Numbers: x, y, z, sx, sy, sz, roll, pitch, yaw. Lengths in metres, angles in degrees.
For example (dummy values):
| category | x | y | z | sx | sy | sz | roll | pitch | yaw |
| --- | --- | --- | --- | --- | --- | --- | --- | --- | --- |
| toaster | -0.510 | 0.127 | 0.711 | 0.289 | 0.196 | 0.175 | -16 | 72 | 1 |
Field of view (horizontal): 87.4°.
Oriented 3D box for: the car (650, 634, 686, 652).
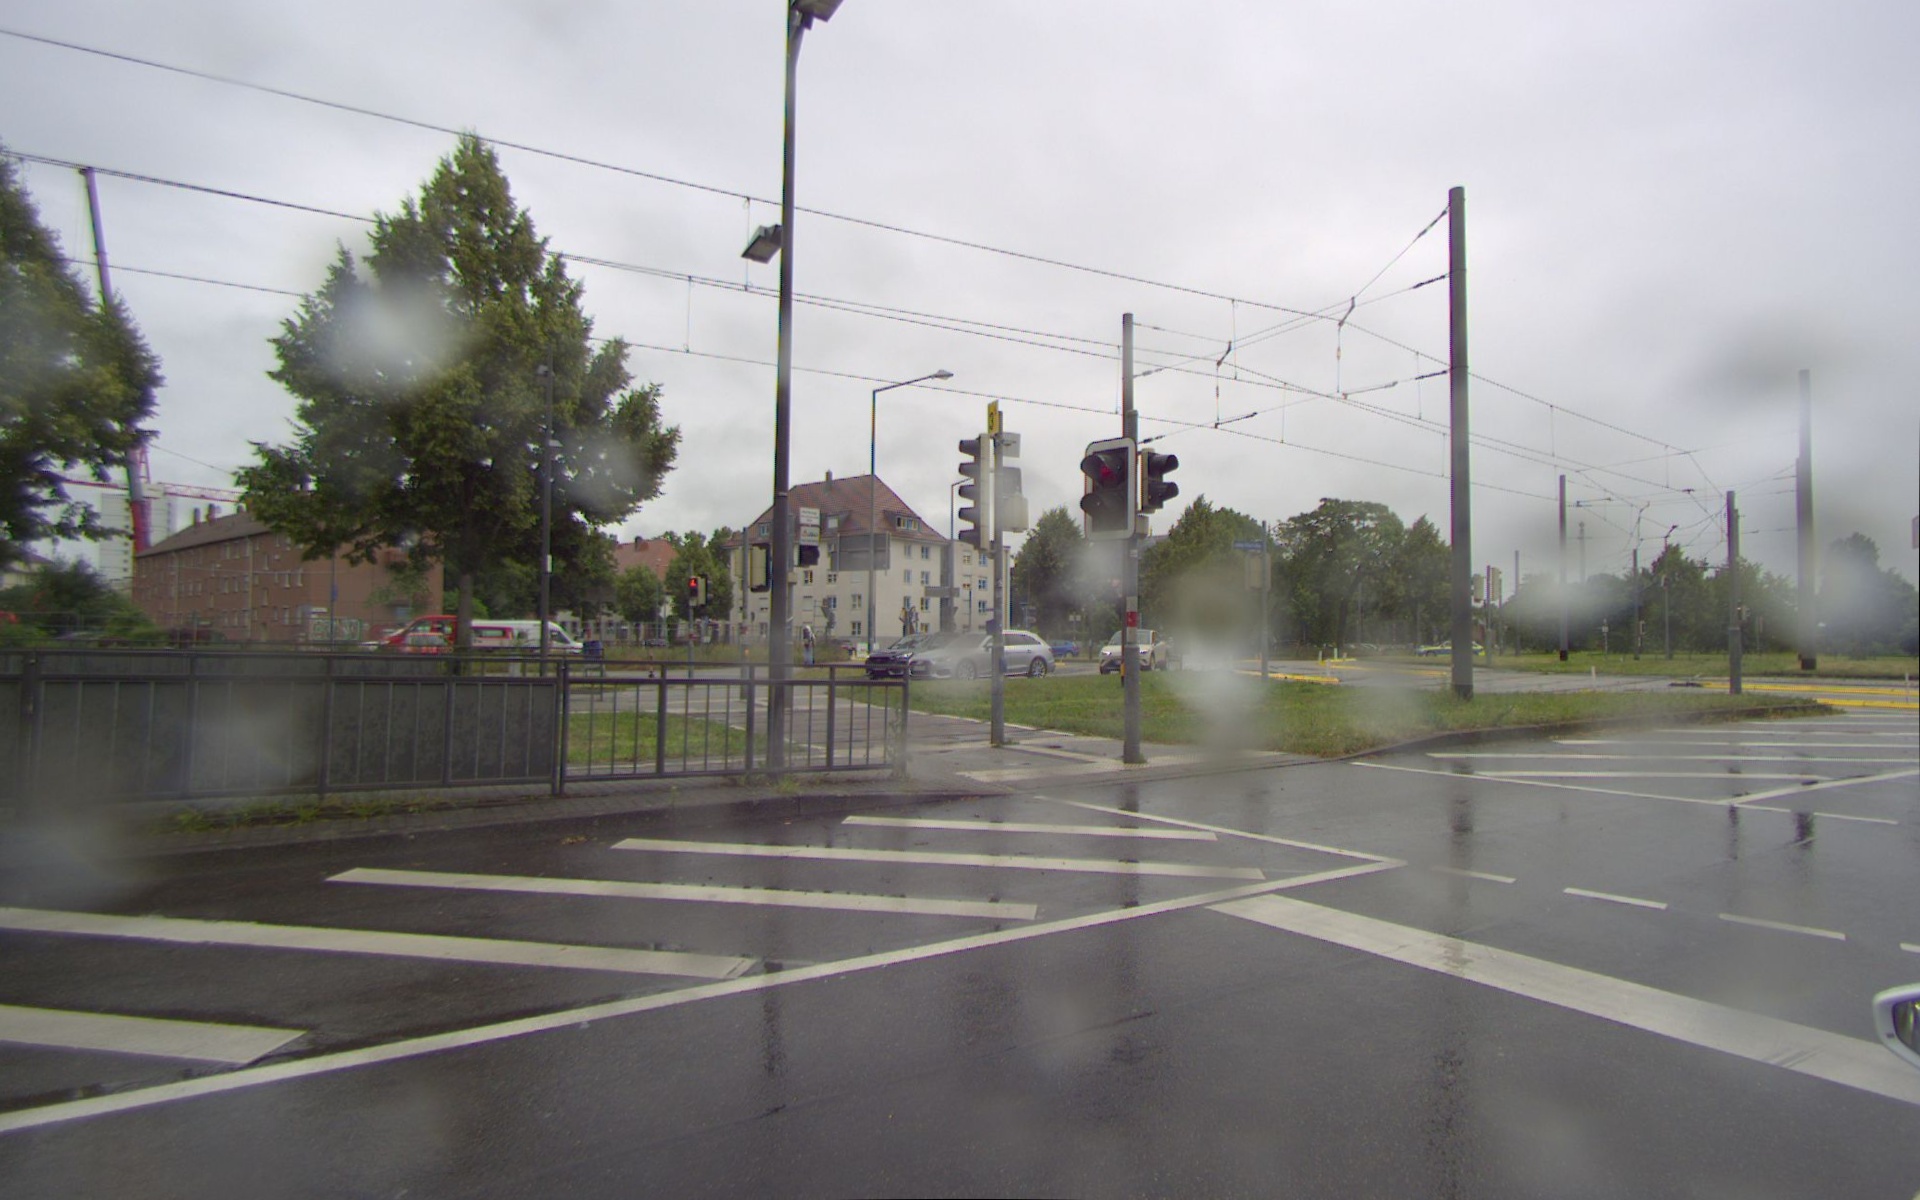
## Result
| category | x | y | z | sx | sy | sz | roll | pitch | yaw |
| --- | --- | --- | --- | --- | --- | --- | --- | --- | --- |
| car | -28.254 | 4.143 | 97.160 | 3.429 | 1.563 | 1.615 | 2 | 0 | 39 |

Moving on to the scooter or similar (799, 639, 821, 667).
| category | x | y | z | sx | sy | sz | roll | pitch | yaw |
| --- | --- | --- | --- | --- | --- | --- | --- | --- | --- |
| scooter or similar | -6.943 | 2.428 | 46.457 | 0.438 | 1.276 | 1.591 | -1 | -2 | 14 |

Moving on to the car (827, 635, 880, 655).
| category | x | y | z | sx | sy | sz | roll | pitch | yaw |
| --- | --- | --- | --- | --- | --- | --- | --- | --- | --- |
| car | -8.525 | 3.590 | 80.536 | 3.912 | 1.473 | 1.622 | 0 | -2 | 25 |

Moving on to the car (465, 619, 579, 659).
| category | x | y | z | sx | sy | sz | roll | pitch | yaw |
| --- | --- | --- | --- | --- | --- | --- | --- | --- | --- |
| car | -25.897 | 2.324 | 59.631 | 6.004 | 2.308 | 1.617 | 1 | -2 | -18 |

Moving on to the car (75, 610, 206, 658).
| category | x | y | z | sx | sy | sz | roll | pitch | yaw |
| --- | --- | --- | --- | --- | --- | --- | --- | --- | --- |
| car | -45.365 | 1.917 | 55.818 | 5.441 | 2.485 | 1.980 | 3 | 0 | -36 |

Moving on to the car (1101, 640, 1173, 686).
| category | x | y | z | sx | sy | sz | roll | pitch | yaw |
| --- | --- | --- | --- | --- | --- | --- | --- | --- | --- |
| car | 6.340 | 2.183 | 35.675 | 1.592 | 1.473 | 4.111 | 0 | -2 | 24 |

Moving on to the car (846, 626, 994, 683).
| category | x | y | z | sx | sy | sz | roll | pitch | yaw |
| --- | --- | --- | --- | --- | --- | --- | --- | --- | --- |
| car | -1.194 | 1.645 | 31.219 | 4.371 | 1.649 | 1.975 | 2 | -2 | -42 |

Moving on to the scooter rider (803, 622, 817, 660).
| category | x | y | z | sx | sy | sz | roll | pitch | yaw |
| --- | --- | --- | --- | --- | --- | --- | --- | --- | --- |
| scooter rider | -6.955 | 1.903 | 46.602 | 0.425 | 1.731 | 0.533 | -2 | -3 | 14 |

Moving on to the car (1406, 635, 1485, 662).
| category | x | y | z | sx | sy | sz | roll | pitch | yaw |
| --- | --- | --- | --- | --- | --- | --- | --- | --- | --- |
| car | 34.857 | 3.457 | 72.214 | 4.679 | 1.875 | 2.001 | 0 | -2 | 7 |

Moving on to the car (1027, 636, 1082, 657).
| category | x | y | z | sx | sy | sz | roll | pitch | yaw |
| --- | --- | --- | --- | --- | --- | --- | --- | --- | --- |
| car | 6.834 | 3.319 | 72.574 | 3.907 | 1.473 | 1.624 | 0 | -2 | 4 |

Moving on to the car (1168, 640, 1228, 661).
| category | x | y | z | sx | sy | sz | roll | pitch | yaw |
| --- | --- | --- | --- | --- | --- | --- | --- | --- | --- |
| car | 16.924 | 3.590 | 71.432 | 3.908 | 1.473 | 1.624 | 0 | -2 | 1 |

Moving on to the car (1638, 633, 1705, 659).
| category | x | y | z | sx | sy | sz | roll | pitch | yaw |
| --- | --- | --- | --- | --- | --- | --- | --- | --- | --- |
| car | 55.169 | 3.547 | 77.901 | 3.921 | 1.840 | 1.681 | 2 | 0 | -1 |

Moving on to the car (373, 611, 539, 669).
| category | x | y | z | sx | sy | sz | roll | pitch | yaw |
| --- | --- | --- | --- | --- | --- | --- | --- | --- | --- |
| car | -22.371 | 1.793 | 44.894 | 6.389 | 2.502 | 1.616 | 1 | -2 | -20 |

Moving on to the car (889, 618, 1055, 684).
| category | x | y | z | sx | sy | sz | roll | pitch | yaw |
| --- | --- | --- | --- | --- | --- | --- | --- | --- | --- |
| car | 0.382 | 1.360 | 27.355 | 4.371 | 1.649 | 1.975 | 2 | -2 | -42 |
